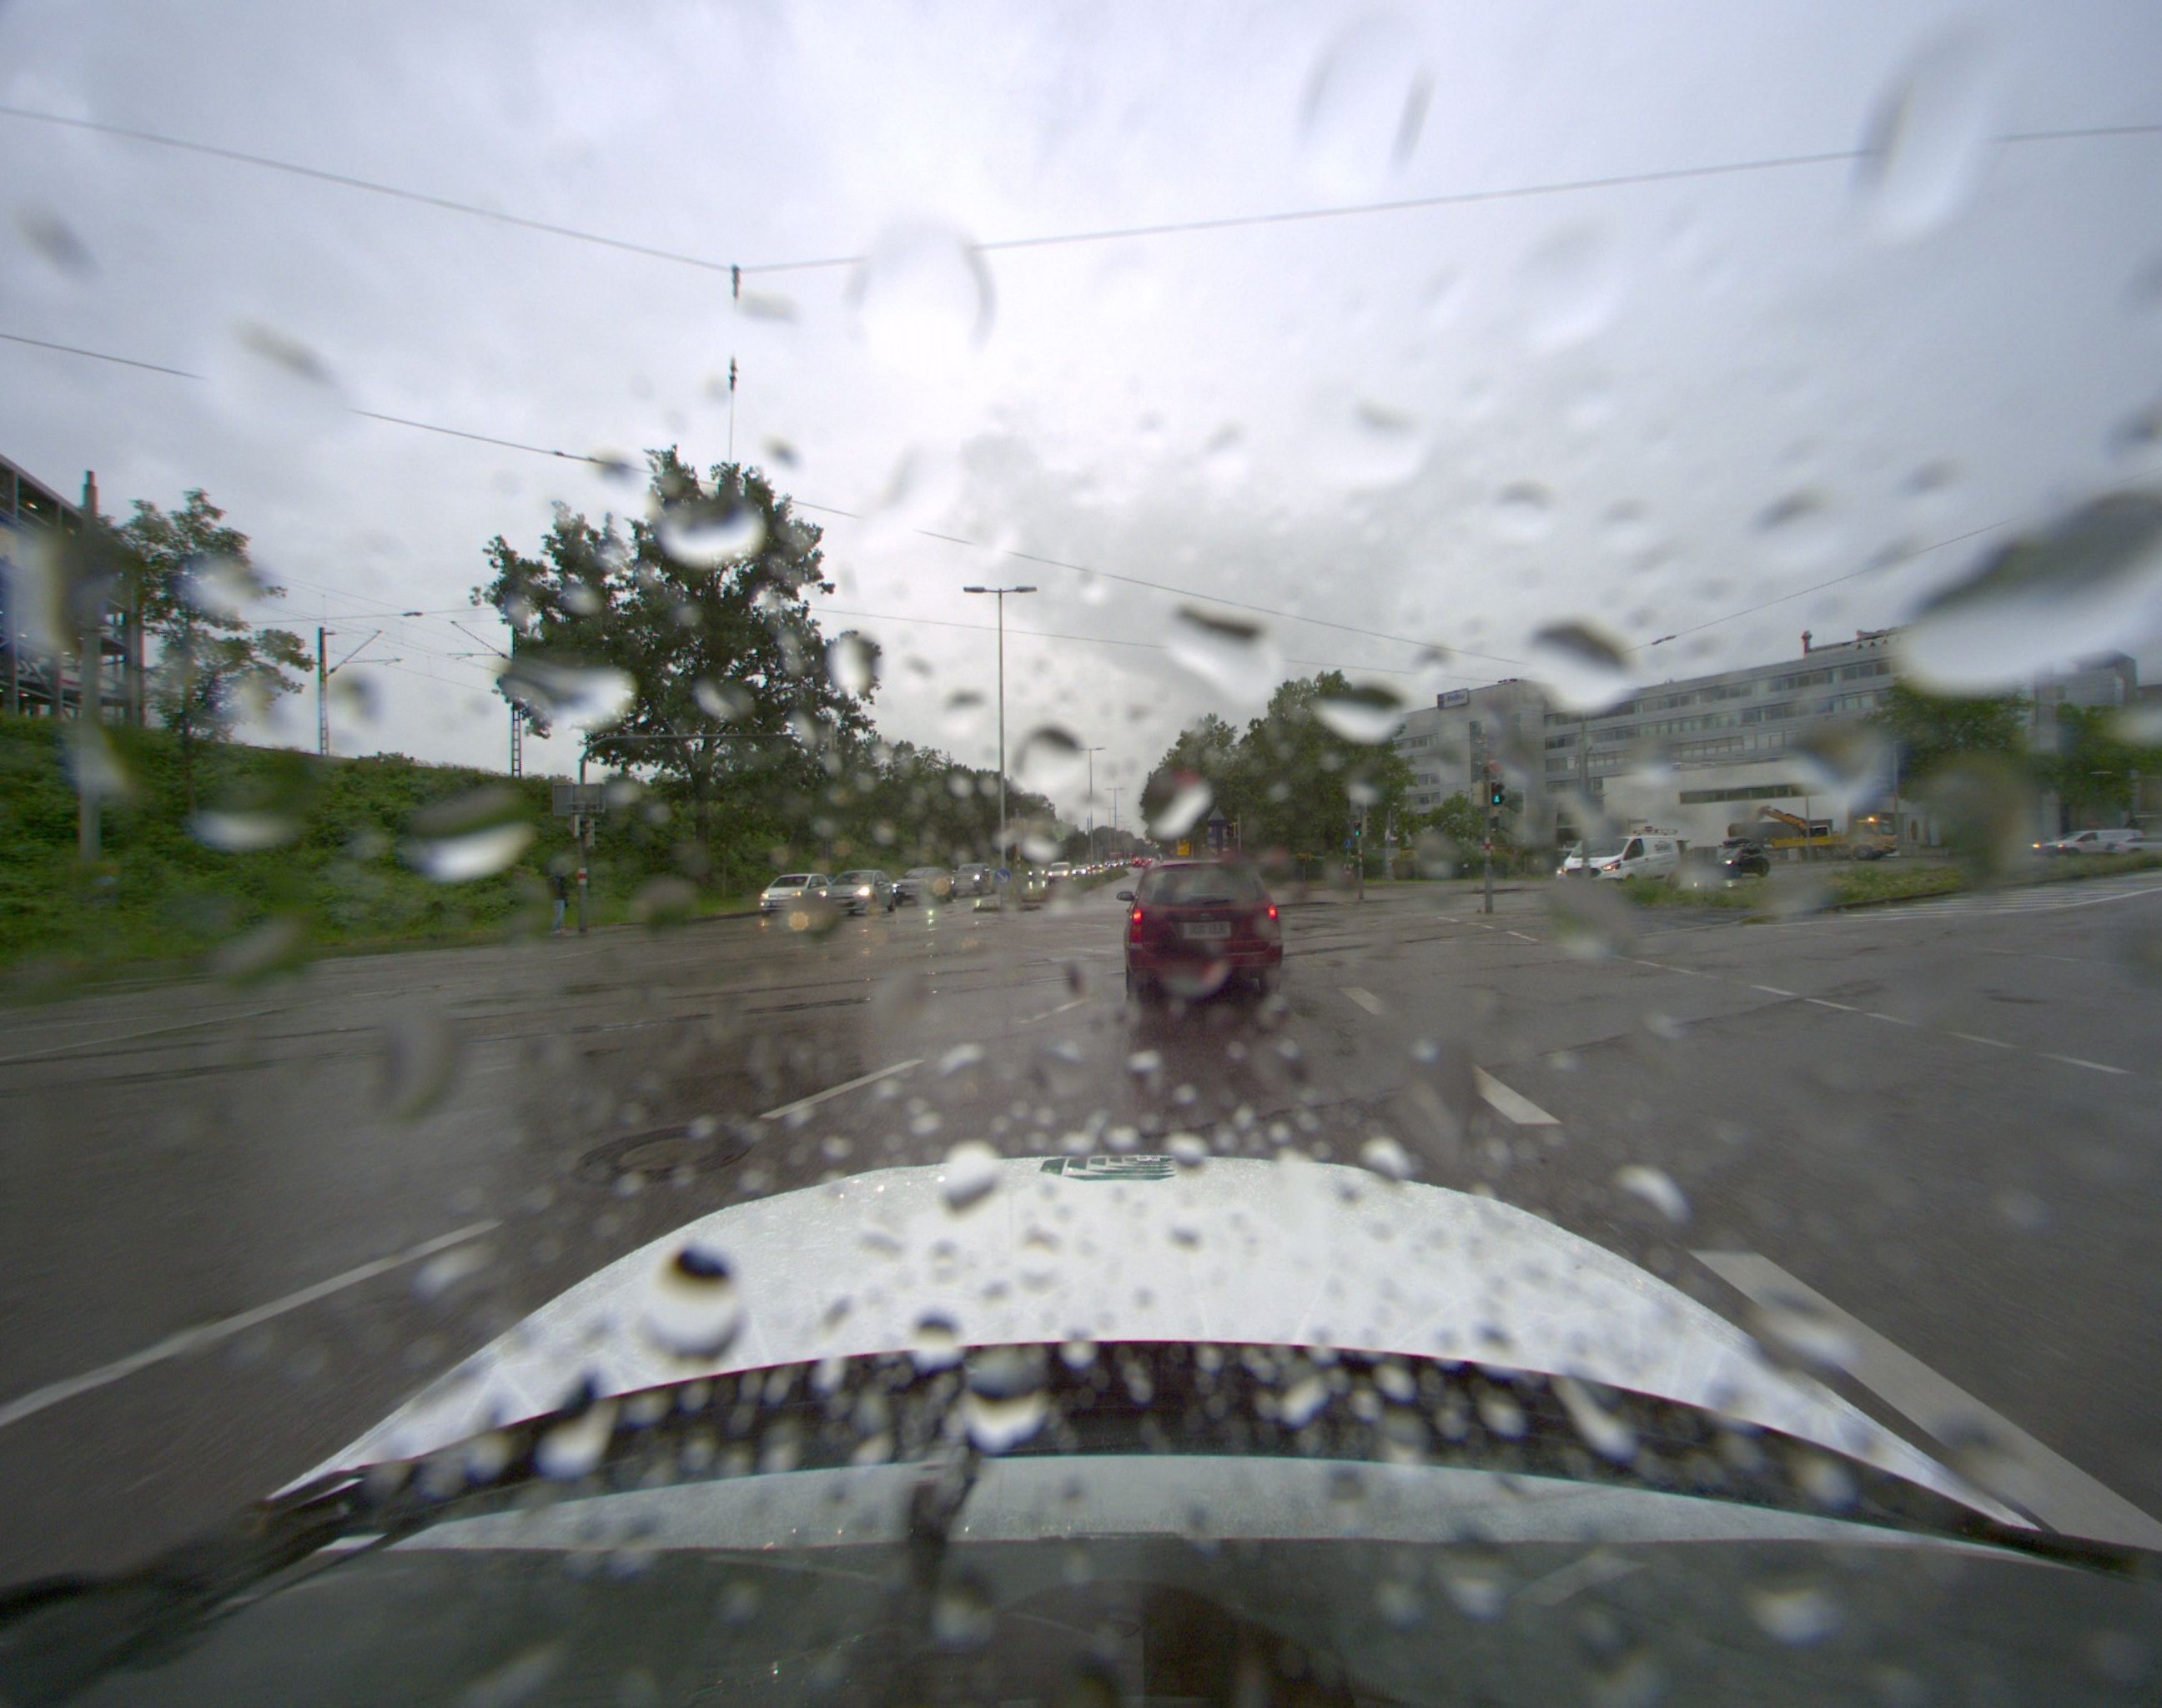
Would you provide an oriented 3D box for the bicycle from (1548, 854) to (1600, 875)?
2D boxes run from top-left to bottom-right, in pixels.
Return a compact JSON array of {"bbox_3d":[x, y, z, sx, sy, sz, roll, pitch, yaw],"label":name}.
[{"bbox_3d":[26.706,0.584,44.180,2.285,1.046,0.854,-2,-1,25],"label":"bicycle"}]

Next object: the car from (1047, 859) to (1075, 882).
[{"bbox_3d":[-1.535,1.258,63.888,1.736,1.702,4.288,-3,-1,4],"label":"car"}]

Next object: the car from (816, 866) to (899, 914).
[{"bbox_3d":[-7.571,1.172,27.963,1.632,1.473,3.966,-2,-1,2],"label":"car"}]

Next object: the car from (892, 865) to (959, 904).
[{"bbox_3d":[-6.945,1.338,36.788,1.754,1.586,4.818,-2,-1,4],"label":"car"}]

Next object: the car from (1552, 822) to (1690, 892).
[{"bbox_3d":[17.821,0.086,26.805,4.705,2.125,1.980,-1,-1,-32],"label":"car"}]

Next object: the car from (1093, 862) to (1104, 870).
[{"bbox_3d":[3.506,2.391,165.876,1.954,1.597,4.288,-2,-1,4],"label":"car"}]

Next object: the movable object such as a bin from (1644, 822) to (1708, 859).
[{"bbox_3d":[50.620,-1.112,69.335,3.339,2.996,3.298,-1,-1,-31],"label":"movable object such as a bin"}]

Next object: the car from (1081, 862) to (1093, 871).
[{"bbox_3d":[1.089,2.252,150.465,1.954,1.597,4.288,-2,-1,4],"label":"car"}]

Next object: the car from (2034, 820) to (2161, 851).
[{"bbox_3d":[70.861,-1.250,56.809,5.298,2.014,2.011,0,-1,25],"label":"car"}]

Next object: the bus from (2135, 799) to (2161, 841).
[{"bbox_3d":[83.885,-2.631,63.137,8.569,3.036,2.499,-1,-1,-38],"label":"bus"}]

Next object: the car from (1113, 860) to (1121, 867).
[{"bbox_3d":[9.222,2.436,207.450,1.953,1.597,4.290,-2,-1,5],"label":"car"}]

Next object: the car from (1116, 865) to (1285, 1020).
[{"bbox_3d":[1.314,0.890,9.877,1.635,1.465,3.736,1,0,4],"label":"car"}]

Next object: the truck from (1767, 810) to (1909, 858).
[{"bbox_3d":[61.721,-1.557,66.615,3.338,3.507,7.813,-1,-1,-30],"label":"truck"}]

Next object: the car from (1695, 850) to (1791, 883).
[{"bbox_3d":[33.554,0.634,41.252,4.650,1.524,1.786,-1,-1,-23],"label":"car"}]

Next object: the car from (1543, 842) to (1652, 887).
[{"bbox_3d":[20.101,0.384,31.649,4.396,1.621,1.759,-1,-1,-30],"label":"car"}]

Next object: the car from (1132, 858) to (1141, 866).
[{"bbox_3d":[12.134,1.721,177.148,1.689,1.528,3.853,-1,-1,7],"label":"car"}]

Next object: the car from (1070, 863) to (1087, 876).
[{"bbox_3d":[-0.301,2.126,110.520,1.954,1.702,4.288,-2,-1,4],"label":"car"}]

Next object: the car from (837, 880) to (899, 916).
[{"bbox_3d":[-9.651,1.960,37.172,1.583,1.404,3.827,-2,-1,4],"label":"car"}]

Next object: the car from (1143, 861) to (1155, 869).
[{"bbox_3d":[13.615,2.187,162.311,2.136,1.528,4.201,-1,-1,7],"label":"car"}]

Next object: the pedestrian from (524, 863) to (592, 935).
[{"bbox_3d":[-13.958,1.184,21.767,1.101,1.847,1.128,-1,-1,-7],"label":"pedestrian"}]

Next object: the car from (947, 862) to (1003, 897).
[{"bbox_3d":[-6.010,1.397,46.810,2.056,1.819,5.547,-2,-1,4],"label":"car"}]

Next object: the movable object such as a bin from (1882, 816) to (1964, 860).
[{"bbox_3d":[70.703,-1.342,68.355,6.341,3.507,3.296,-1,-1,-30],"label":"movable object such as a bin"}]

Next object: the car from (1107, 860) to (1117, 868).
[{"bbox_3d":[7.039,2.192,182.566,1.953,1.597,4.290,-2,-1,5],"label":"car"}]

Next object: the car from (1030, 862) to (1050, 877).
[{"bbox_3d":[-4.563,1.715,91.407,1.736,1.702,4.288,1,0,4],"label":"car"}]

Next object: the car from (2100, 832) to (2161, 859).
[{"bbox_3d":[70.243,-0.549,52.764,1.885,1.655,5.017,2,-1,-26],"label":"car"}]

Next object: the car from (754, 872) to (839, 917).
[{"bbox_3d":[-10.471,1.442,30.249,1.631,1.452,3.790,-2,-1,3],"label":"car"}]

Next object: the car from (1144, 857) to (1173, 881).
[{"bbox_3d":[5.960,1.133,63.035,1.731,1.726,4.239,0,0,-2],"label":"car"}]

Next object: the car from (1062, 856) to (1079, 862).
[{"bbox_3d":[-2.884,1.403,219.598,4.297,1.597,1.950,-1,-1,-31],"label":"car"}]

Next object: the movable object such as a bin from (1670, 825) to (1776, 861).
[{"bbox_3d":[57.917,-0.925,73.635,3.339,2.996,6.655,-1,-1,-31],"label":"movable object such as a bin"}]
